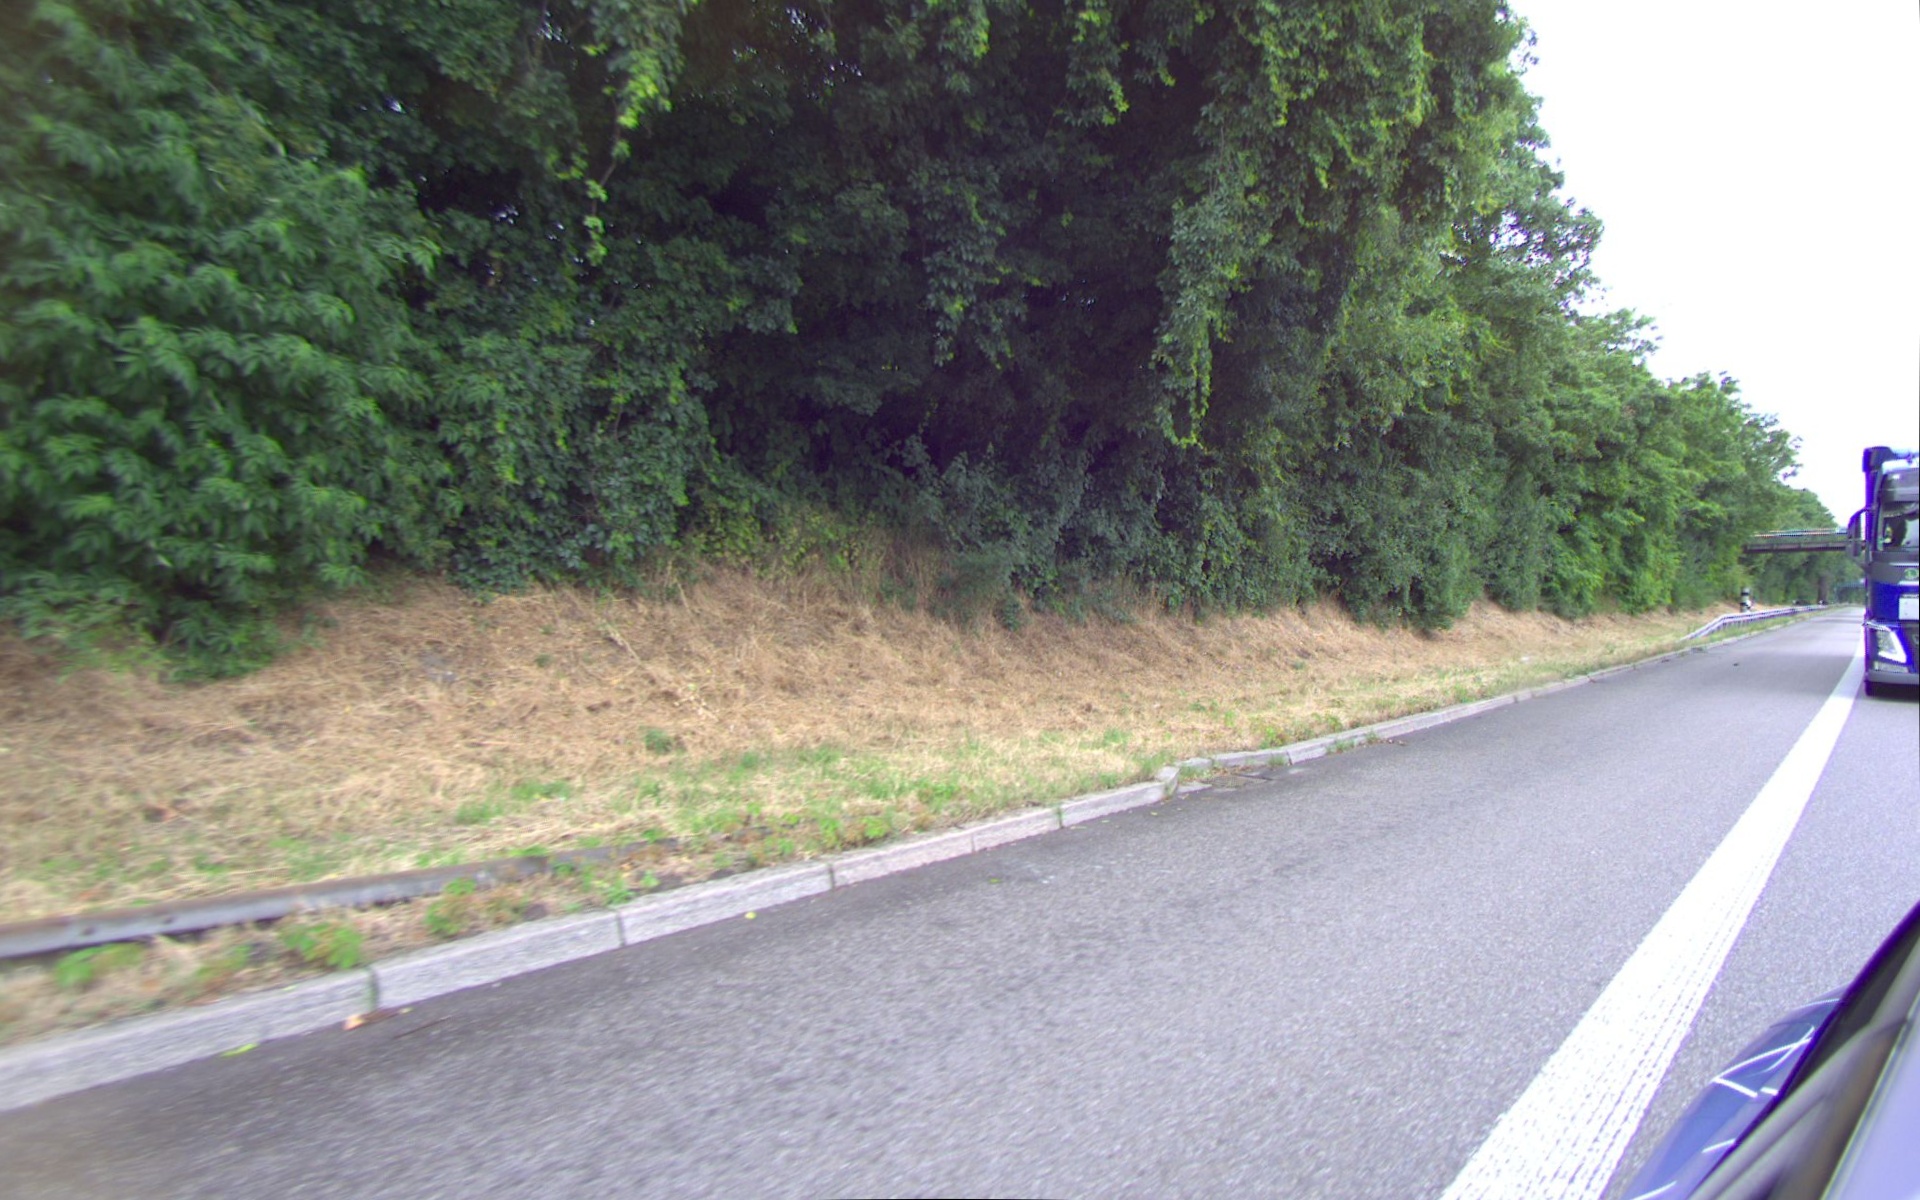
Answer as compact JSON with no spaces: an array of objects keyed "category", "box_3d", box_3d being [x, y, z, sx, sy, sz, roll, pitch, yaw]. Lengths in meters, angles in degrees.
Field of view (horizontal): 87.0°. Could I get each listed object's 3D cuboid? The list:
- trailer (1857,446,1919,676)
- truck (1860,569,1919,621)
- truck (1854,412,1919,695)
[{"category":"trailer","box_3d":[21.945,-0.758,22.262,2.837,4.087,12.880,0,0,44]},{"category":"truck","box_3d":[60.409,-0.333,65.378,3.354,3.156,7.132,0,0,41]},{"category":"truck","box_3d":[16.710,-0.665,16.459,2.954,4.019,7.352,0,0,44]}]
